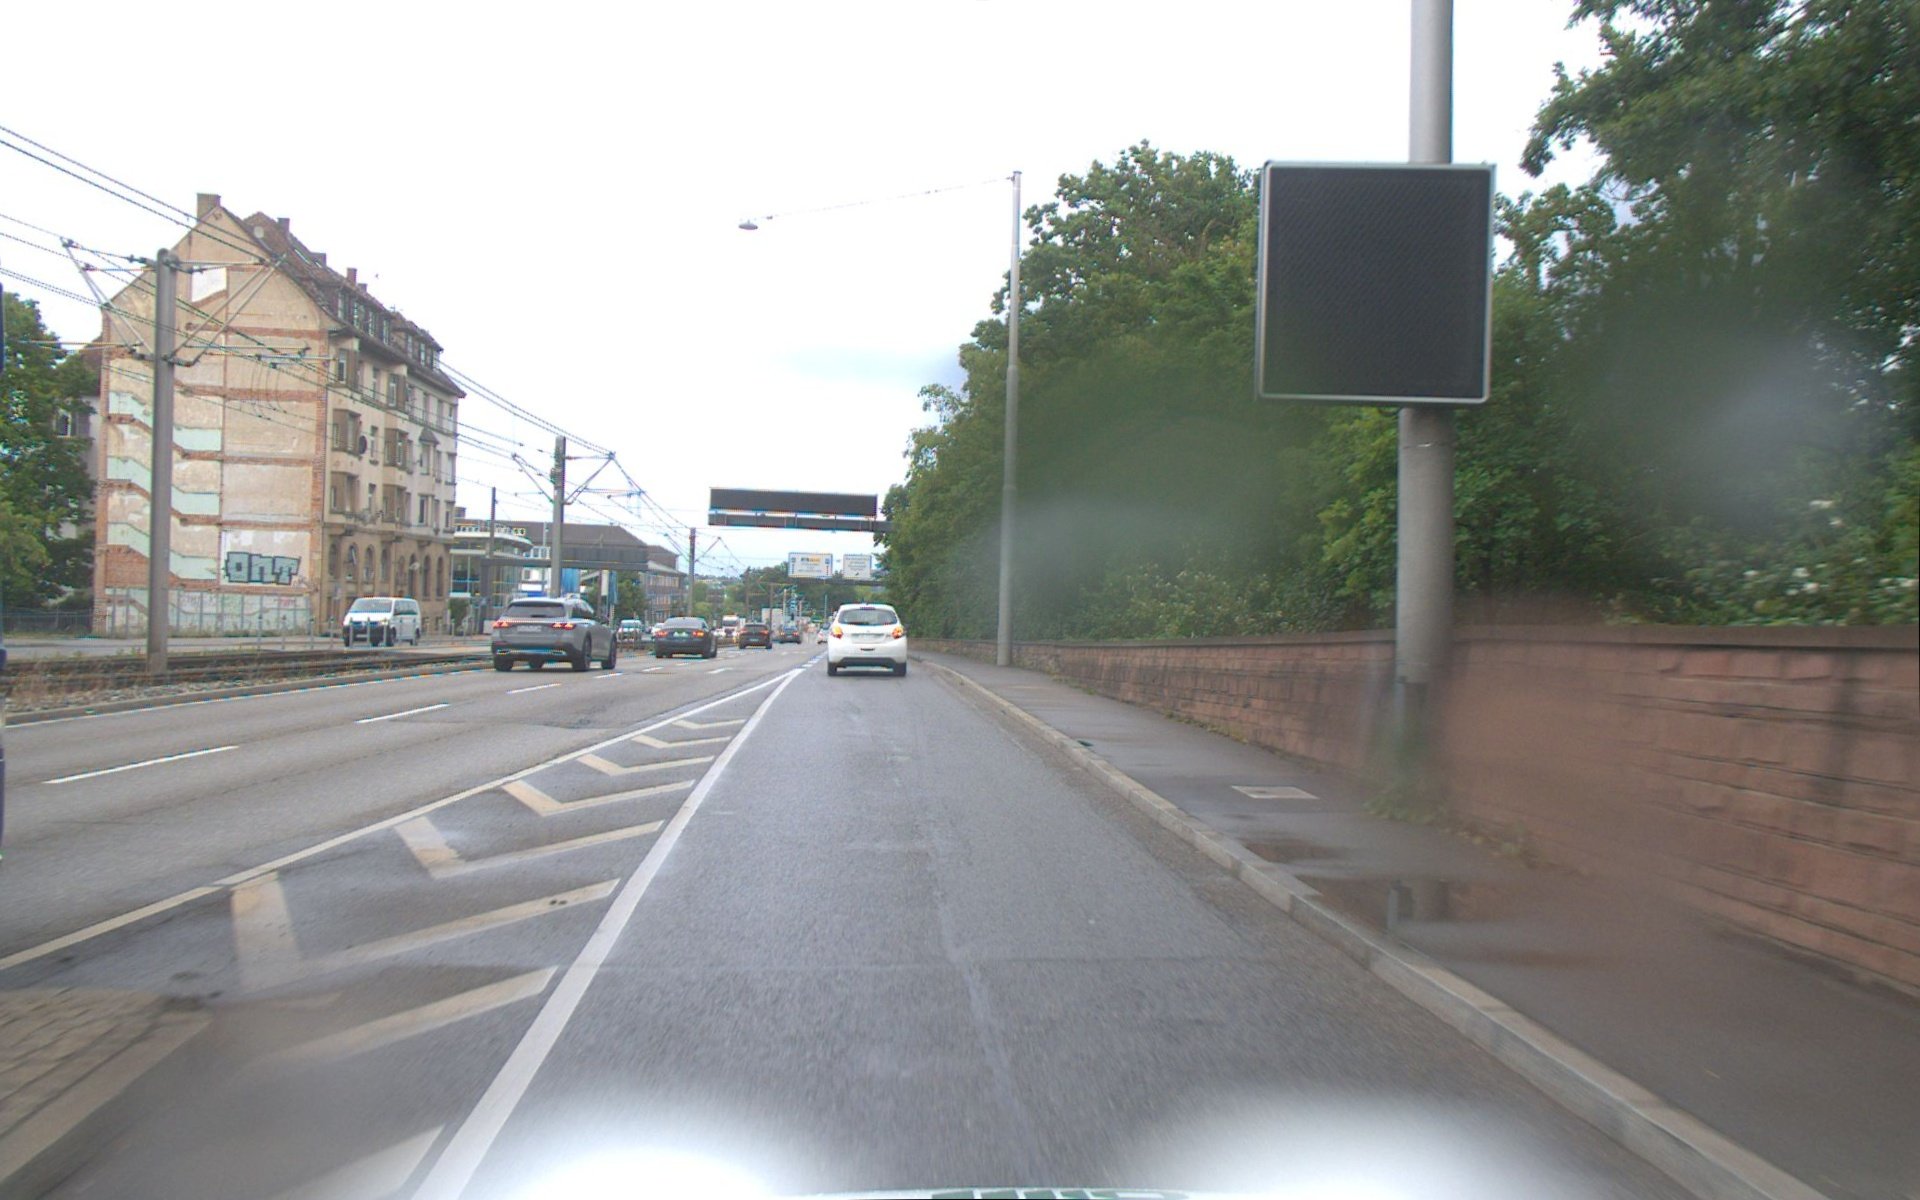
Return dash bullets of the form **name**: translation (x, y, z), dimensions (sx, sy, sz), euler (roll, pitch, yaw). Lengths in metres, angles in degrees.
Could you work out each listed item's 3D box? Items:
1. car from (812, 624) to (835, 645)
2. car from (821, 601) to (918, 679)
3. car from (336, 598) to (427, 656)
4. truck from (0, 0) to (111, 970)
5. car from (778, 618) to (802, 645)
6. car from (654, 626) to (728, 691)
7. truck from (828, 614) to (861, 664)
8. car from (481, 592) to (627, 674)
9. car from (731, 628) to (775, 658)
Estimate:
- **car**: translation (-12.831, 3.265, 155.421), dimensions (2.040, 1.905, 4.092), euler (1, -2, -3)
- **car**: translation (-1.955, 0.873, 35.607), dimensions (1.917, 1.514, 3.996), euler (3, -2, -4)
- **car**: translation (-23.229, 1.124, 66.632), dimensions (1.954, 2.155, 5.106), euler (2, -2, -3)
- **truck**: translation (-5.490, -0.619, 4.446), dimensions (2.705, 4.271, 6.785), euler (0, -1, 1)
- **car**: translation (-14.945, 2.801, 145.616), dimensions (1.954, 2.049, 3.995), euler (3, -5, -4)
- **car**: translation (-9.016, 1.941, 55.737), dimensions (1.685, 1.924, 3.537), euler (1, 2, 4)
- **truck**: translation (-14.403, 4.990, 207.077), dimensions (3.395, 5.496, 12.043), euler (2, -5, -2)
- **car**: translation (-8.415, 0.720, 34.615), dimensions (1.782, 1.593, 4.093), euler (-1, -2, 4)
- **car**: translation (-11.664, 2.430, 93.433), dimensions (1.953, 1.603, 3.999), euler (1, -2, 0)
